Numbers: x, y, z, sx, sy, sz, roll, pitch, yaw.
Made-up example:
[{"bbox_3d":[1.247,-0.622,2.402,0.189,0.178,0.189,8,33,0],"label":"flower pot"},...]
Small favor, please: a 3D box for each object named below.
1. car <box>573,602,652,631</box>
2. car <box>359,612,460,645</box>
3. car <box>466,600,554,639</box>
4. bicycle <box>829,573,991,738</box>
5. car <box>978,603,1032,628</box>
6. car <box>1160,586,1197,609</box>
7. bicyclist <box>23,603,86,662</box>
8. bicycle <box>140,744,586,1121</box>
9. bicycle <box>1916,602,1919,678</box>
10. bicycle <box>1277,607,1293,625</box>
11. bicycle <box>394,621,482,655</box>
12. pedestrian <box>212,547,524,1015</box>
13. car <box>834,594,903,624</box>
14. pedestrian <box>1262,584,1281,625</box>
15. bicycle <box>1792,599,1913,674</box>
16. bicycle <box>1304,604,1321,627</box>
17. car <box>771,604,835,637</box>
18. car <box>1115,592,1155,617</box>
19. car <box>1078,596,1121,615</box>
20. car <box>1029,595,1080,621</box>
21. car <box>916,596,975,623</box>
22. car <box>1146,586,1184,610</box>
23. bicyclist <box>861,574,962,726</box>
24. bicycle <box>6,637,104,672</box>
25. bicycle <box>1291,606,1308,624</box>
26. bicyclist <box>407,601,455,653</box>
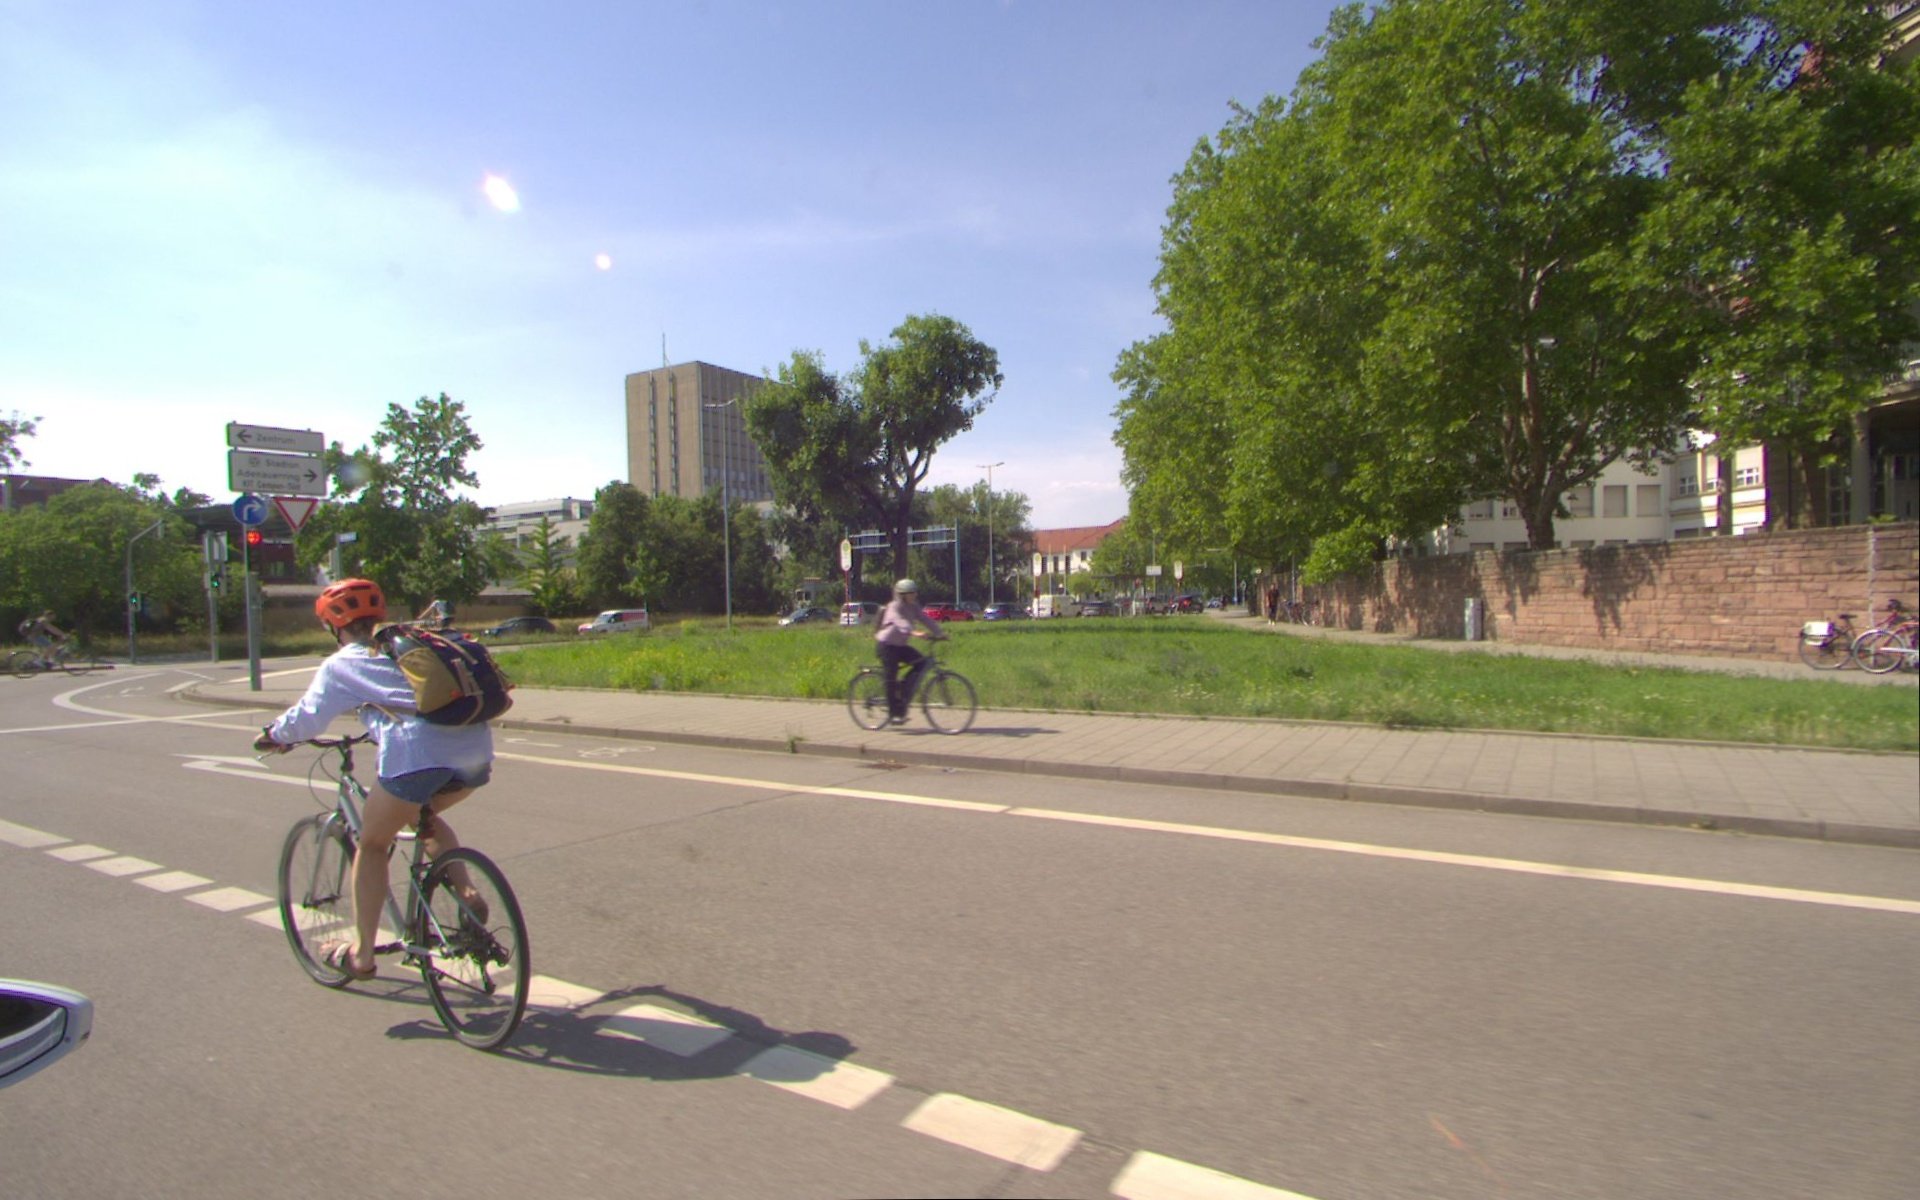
[{"bbox_3d":[-21.066,0.987,60.837,1.882,1.590,4.301,-1,1,31],"label":"car"},{"bbox_3d":[-27.912,1.421,50.878,1.972,1.483,3.979,-2,0,31],"label":"car"},{"bbox_3d":[-25.038,1.055,55.818,1.972,2.041,3.976,-1,1,34],"label":"car"},{"bbox_3d":[-0.592,0.609,11.596,1.785,1.789,0.676,-1,1,32],"label":"bicycle"},{"bbox_3d":[3.034,1.021,66.544,1.729,1.494,3.974,-1,1,35],"label":"car"},{"bbox_3d":[20.233,-0.258,92.648,1.972,2.040,3.976,-1,1,33],"label":"car"},{"bbox_3d":[-23.750,0.838,26.263,0.558,1.494,1.158,0,1,44],"label":"bicyclist"},{"bbox_3d":[-2.314,1.106,3.778,1.999,0.943,0.595,-1,-1,32],"label":"bicycle"},{"bbox_3d":[14.766,0.593,14.418,0.343,1.138,1.430,-2,1,-23],"label":"bicycle"},{"bbox_3d":[14.354,0.693,44.247,0.334,0.738,1.364,-1,1,5],"label":"bicycle"},{"bbox_3d":[-15.218,1.101,29.237,2.128,0.928,0.674,-1,1,-11],"label":"bicycle"},{"bbox_3d":[-2.185,0.588,3.691,0.999,1.485,0.582,-1,0,31],"label":"pedestrian"},{"bbox_3d":[-5.007,0.458,55.221,1.727,1.528,3.978,-1,1,32],"label":"car"},{"bbox_3d":[13.618,0.202,43.796,0.608,1.763,0.599,-1,1,3],"label":"pedestrian"},{"bbox_3d":[14.179,0.566,15.931,0.346,1.138,1.421,-2,1,-44],"label":"bicycle"},{"bbox_3d":[14.177,0.627,40.278,0.365,0.867,1.307,-1,1,7],"label":"bicycle"},{"bbox_3d":[-10.616,1.383,68.039,1.975,2.040,3.972,-3,-1,37],"label":"car"},{"bbox_3d":[15.022,0.368,86.147,1.963,2.040,3.995,-2,1,-13],"label":"car"},{"bbox_3d":[10.893,0.397,78.058,1.729,1.357,3.974,-1,1,35],"label":"car"},{"bbox_3d":[6.879,0.583,72.332,1.729,1.781,4.403,0,1,35],"label":"car"},{"bbox_3d":[-0.821,0.611,60.813,1.727,1.527,3.982,-1,-3,32],"label":"car"},{"bbox_3d":[18.460,-0.196,89.909,1.972,2.040,3.976,-1,1,33],"label":"car"},{"bbox_3d":[-0.556,0.557,11.564,0.905,1.678,0.676,0,1,32],"label":"bicyclist"},{"bbox_3d":[-23.721,1.408,26.276,0.554,0.803,1.878,1,2,44],"label":"bicycle"},{"bbox_3d":[14.307,0.633,42.244,0.334,0.738,1.364,-1,1,5],"label":"bicycle"},{"bbox_3d":[-15.411,0.782,29.191,1.121,1.489,0.496,-1,-1,-10],"label":"bicyclist"}]
